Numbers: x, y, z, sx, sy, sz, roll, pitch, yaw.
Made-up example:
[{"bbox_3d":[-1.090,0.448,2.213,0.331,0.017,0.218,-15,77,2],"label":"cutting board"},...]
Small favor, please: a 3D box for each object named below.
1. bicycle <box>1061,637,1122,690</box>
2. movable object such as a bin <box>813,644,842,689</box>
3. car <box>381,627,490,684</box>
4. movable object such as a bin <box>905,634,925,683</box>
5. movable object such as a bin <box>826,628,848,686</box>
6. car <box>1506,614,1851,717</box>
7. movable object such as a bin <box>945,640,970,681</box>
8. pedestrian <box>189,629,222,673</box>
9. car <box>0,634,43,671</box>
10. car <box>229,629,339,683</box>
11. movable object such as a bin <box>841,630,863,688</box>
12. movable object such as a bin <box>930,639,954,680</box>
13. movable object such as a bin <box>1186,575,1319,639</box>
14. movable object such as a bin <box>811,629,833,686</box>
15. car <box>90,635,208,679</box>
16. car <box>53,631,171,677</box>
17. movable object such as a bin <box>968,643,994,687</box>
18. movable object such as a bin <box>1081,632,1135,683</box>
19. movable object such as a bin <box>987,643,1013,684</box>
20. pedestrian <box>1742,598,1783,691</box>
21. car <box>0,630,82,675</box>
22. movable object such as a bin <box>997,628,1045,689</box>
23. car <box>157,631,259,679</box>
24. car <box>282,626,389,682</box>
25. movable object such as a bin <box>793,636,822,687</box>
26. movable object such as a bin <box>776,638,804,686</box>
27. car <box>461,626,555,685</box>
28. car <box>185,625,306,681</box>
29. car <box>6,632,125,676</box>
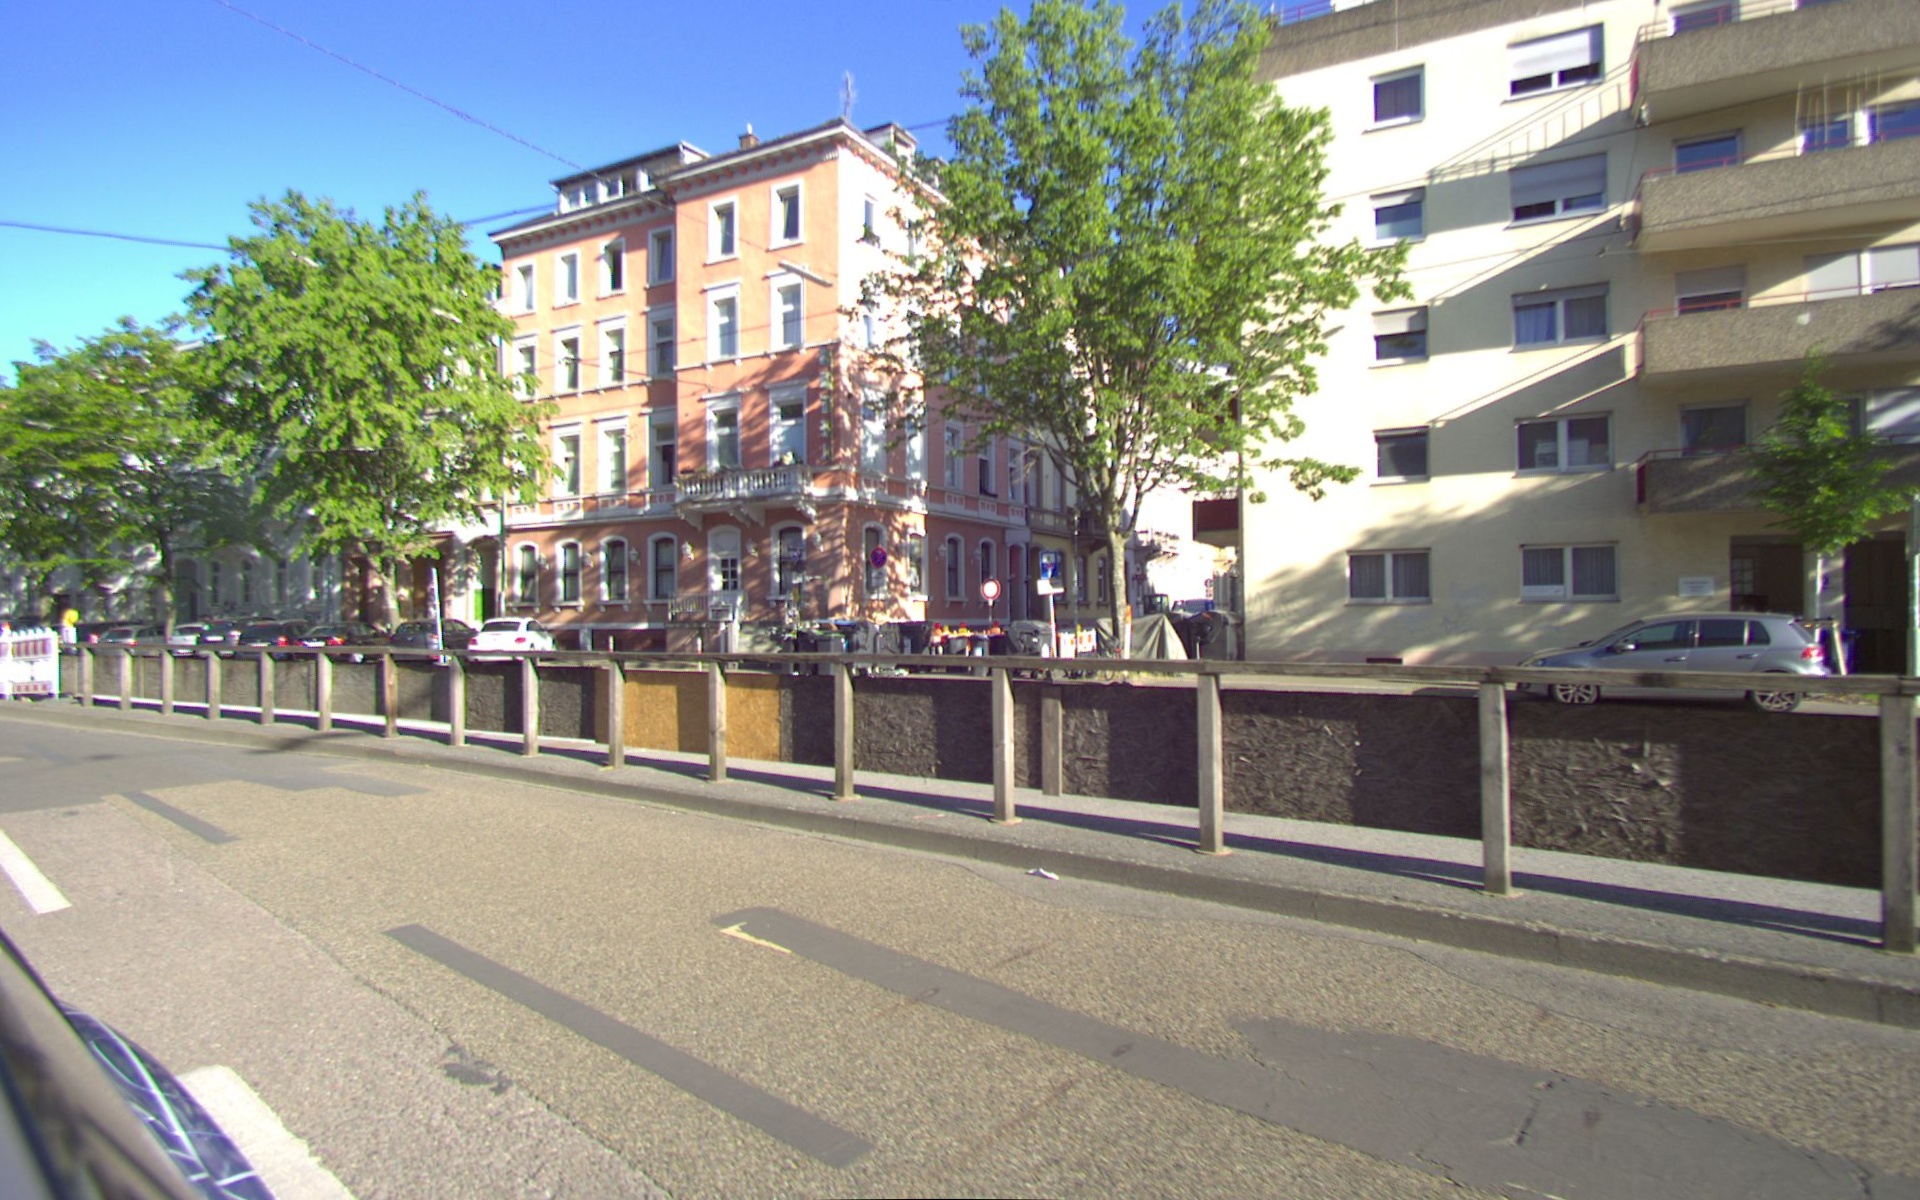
[{"bbox_3d":[2.878,1.379,22.196,1.404,1.125,0.261,-2,-2,40],"label":"bicycle"},{"bbox_3d":[-3.241,1.618,24.789,0.639,1.076,0.375,-2,-2,40],"label":"movable object such as a bin"},{"bbox_3d":[-16.911,1.760,32.846,1.664,1.519,3.926,-2,1,-4],"label":"car"},{"bbox_3d":[-1.229,1.577,27.511,0.386,1.322,0.376,-2,-2,34],"label":"movable object such as a bin"},{"bbox_3d":[-3.103,1.433,25.577,0.385,1.437,0.376,-2,-2,40],"label":"movable object such as a bin"},{"bbox_3d":[11.239,0.996,16.213,4.278,1.421,1.693,-2,0,32],"label":"car"},{"bbox_3d":[-0.079,1.639,27.440,0.551,1.105,0.376,-2,-2,34],"label":"movable object such as a bin"},{"bbox_3d":[-31.128,2.090,41.763,0.801,1.769,0.762,-2,-2,17],"label":"pedestrian"},{"bbox_3d":[-46.499,2.569,48.295,1.718,1.649,4.202,-3,1,-1],"label":"car"},{"bbox_3d":[-23.877,1.940,35.915,1.609,1.629,3.993,-2,0,-8],"label":"car"},{"bbox_3d":[-2.722,1.481,25.396,0.387,1.437,0.376,-2,-2,40],"label":"movable object such as a bin"},{"bbox_3d":[-0.508,1.659,28.299,0.551,1.107,0.376,-2,-2,34],"label":"movable object such as a bin"},{"bbox_3d":[14.460,0.383,50.097,5.258,2.952,3.902,-1,-1,40],"label":"movable object such as a bin"},{"bbox_3d":[-3.507,1.452,25.719,0.387,1.437,0.376,-2,-2,40],"label":"movable object such as a bin"},{"bbox_3d":[-32.548,2.259,40.754,1.745,1.496,3.824,-1,0,-2],"label":"car"},{"bbox_3d":[-35.362,2.208,42.324,1.748,1.667,3.871,-1,0,-1],"label":"car"},{"bbox_3d":[0.528,1.653,25.811,0.551,1.105,0.376,0,-1,34],"label":"movable object such as a bin"},{"bbox_3d":[3.366,1.308,23.054,1.144,1.135,0.422,-2,-2,34],"label":"movable object such as a bin"},{"bbox_3d":[1.045,1.659,26.458,0.551,1.041,0.443,0,-1,34],"label":"movable object such as a bin"},{"bbox_3d":[14.767,0.814,18.639,0.489,1.684,0.507,-2,-2,33],"label":"pedestrian"},{"bbox_3d":[-43.705,2.428,47.263,1.760,1.812,4.202,-1,1,-1],"label":"car"},{"bbox_3d":[1.532,1.452,25.291,1.144,1.469,0.422,0,-1,34],"label":"movable object such as a bin"},{"bbox_3d":[-29.345,2.117,39.613,1.682,1.544,3.284,-2,1,-4],"label":"car"},{"bbox_3d":[-21.383,1.804,34.811,1.609,1.629,3.993,-2,0,-8],"label":"car"},{"bbox_3d":[-3.795,1.516,25.187,0.639,1.251,0.375,-2,-2,40],"label":"movable object such as a bin"},{"bbox_3d":[-4.305,1.559,25.596,0.639,1.212,0.375,-2,-2,40],"label":"movable object such as a bin"},{"bbox_3d":[-14.022,1.676,31.624,1.708,1.533,3.924,-2,1,-9],"label":"car"},{"bbox_3d":[-26.624,1.914,37.899,1.682,1.735,4.291,-1,1,-4],"label":"car"},{"bbox_3d":[-38.364,2.274,43.528,1.747,1.667,3.872,-1,0,-2],"label":"car"}]
